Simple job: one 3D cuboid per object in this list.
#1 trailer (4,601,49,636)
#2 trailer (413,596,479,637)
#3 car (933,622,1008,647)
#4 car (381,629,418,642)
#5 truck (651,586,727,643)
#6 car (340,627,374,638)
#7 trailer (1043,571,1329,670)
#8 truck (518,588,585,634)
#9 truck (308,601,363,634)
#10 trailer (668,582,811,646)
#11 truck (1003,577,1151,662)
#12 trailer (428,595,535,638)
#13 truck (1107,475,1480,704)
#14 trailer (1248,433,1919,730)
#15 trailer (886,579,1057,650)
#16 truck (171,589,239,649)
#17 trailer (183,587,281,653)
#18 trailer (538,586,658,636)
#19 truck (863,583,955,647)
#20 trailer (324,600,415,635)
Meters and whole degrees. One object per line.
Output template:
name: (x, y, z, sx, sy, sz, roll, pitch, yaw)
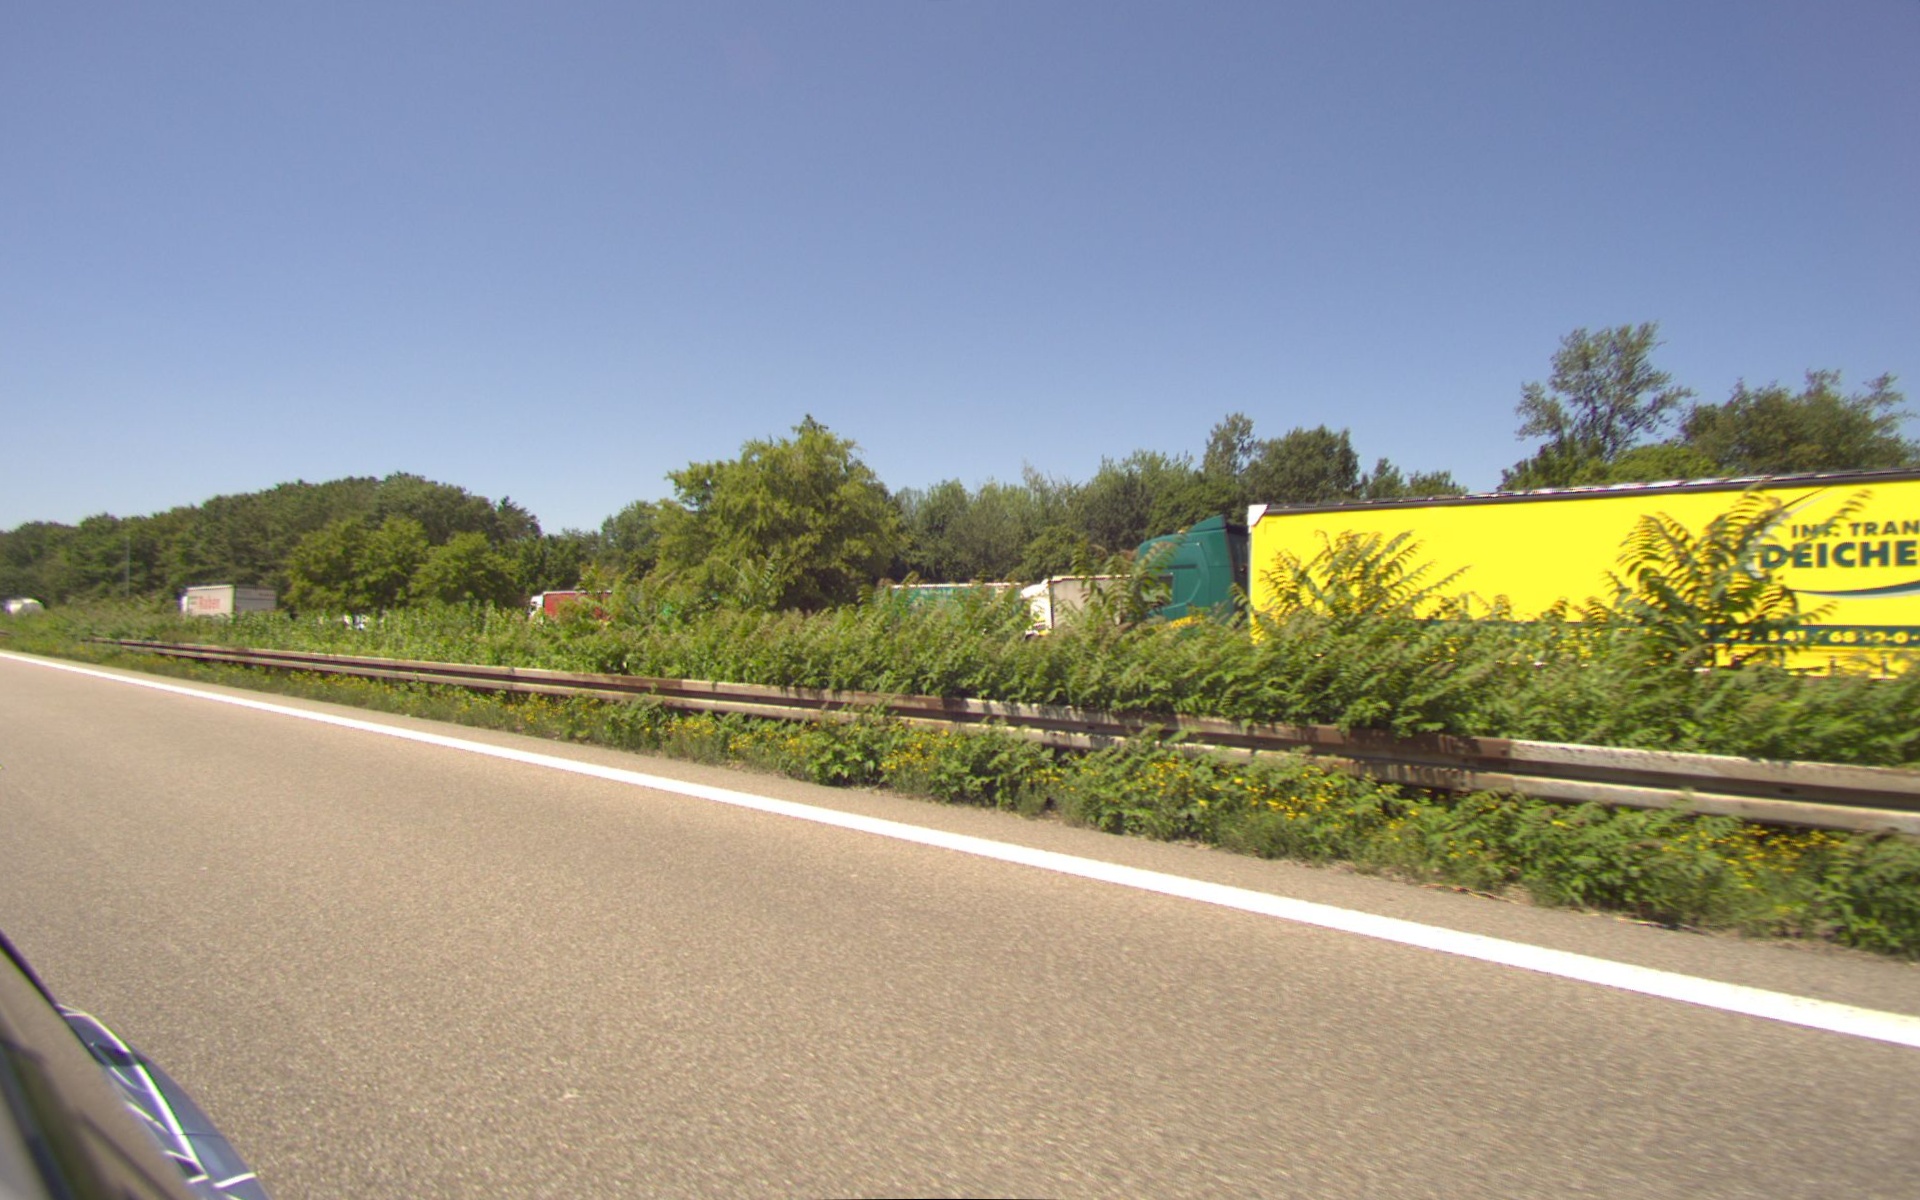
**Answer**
trailer: (-118.995, 2.336, 128.936, 10.832, 4.296, 2.852, -1, -2, 41)
trailer: (-55.521, 1.815, 109.304, 6.579, 4.296, 3.570, -1, -2, 35)
car: (0.617, 2.097, 61.504, 4.448, 1.476, 1.783, -1, -2, 38)
car: (-62.747, 3.982, 113.262, 3.983, 1.467, 1.722, -1, -2, 29)
truck: (-22.630, 1.234, 84.566, 5.756, 4.627, 3.562, -1, -2, 42)
car: (-70.824, 3.786, 118.882, 3.983, 1.298, 1.722, -1, -2, 29)
trailer: (10.352, 0.894, 48.838, 3.178, 4.167, 14.063, -1, 0, -43)
truck: (-39.454, 1.119, 97.702, 5.929, 4.296, 3.566, -1, -2, 39)
truck: (-83.129, 2.367, 134.755, 6.243, 4.296, 3.577, -1, -2, 29)
trailer: (-17.651, 1.155, 80.011, 14.020, 4.627, 3.562, -1, -2, 42)
truck: (6.061, 0.950, 53.367, 3.178, 4.167, 7.398, -1, 0, -44)
trailer: (-49.976, 1.740, 105.426, 13.990, 4.296, 3.570, -1, -2, 35)
truck: (6.528, -0.166, 20.311, 6.391, 3.854, 3.165, -1, 0, 41)
trailer: (11.791, -0.236, 15.768, 14.014, 3.854, 3.165, -1, 0, 41)
trailer: (0.503, 1.080, 72.620, 3.558, 4.627, 14.035, 2, -2, -43)
truck: (-55.926, 1.385, 74.956, 5.488, 4.304, 2.873, -1, 0, 40)
trailer: (-51.144, 1.322, 70.891, 11.481, 4.304, 2.873, -1, 0, 40)
trailer: (-33.423, 1.040, 92.894, 14.006, 4.296, 3.566, -1, -2, 39)
truck: (-3.930, 1.185, 77.324, 3.558, 4.627, 6.603, 2, -2, -43)
trailer: (-76.547, 2.302, 131.035, 13.964, 4.296, 3.577, -1, -2, 30)
